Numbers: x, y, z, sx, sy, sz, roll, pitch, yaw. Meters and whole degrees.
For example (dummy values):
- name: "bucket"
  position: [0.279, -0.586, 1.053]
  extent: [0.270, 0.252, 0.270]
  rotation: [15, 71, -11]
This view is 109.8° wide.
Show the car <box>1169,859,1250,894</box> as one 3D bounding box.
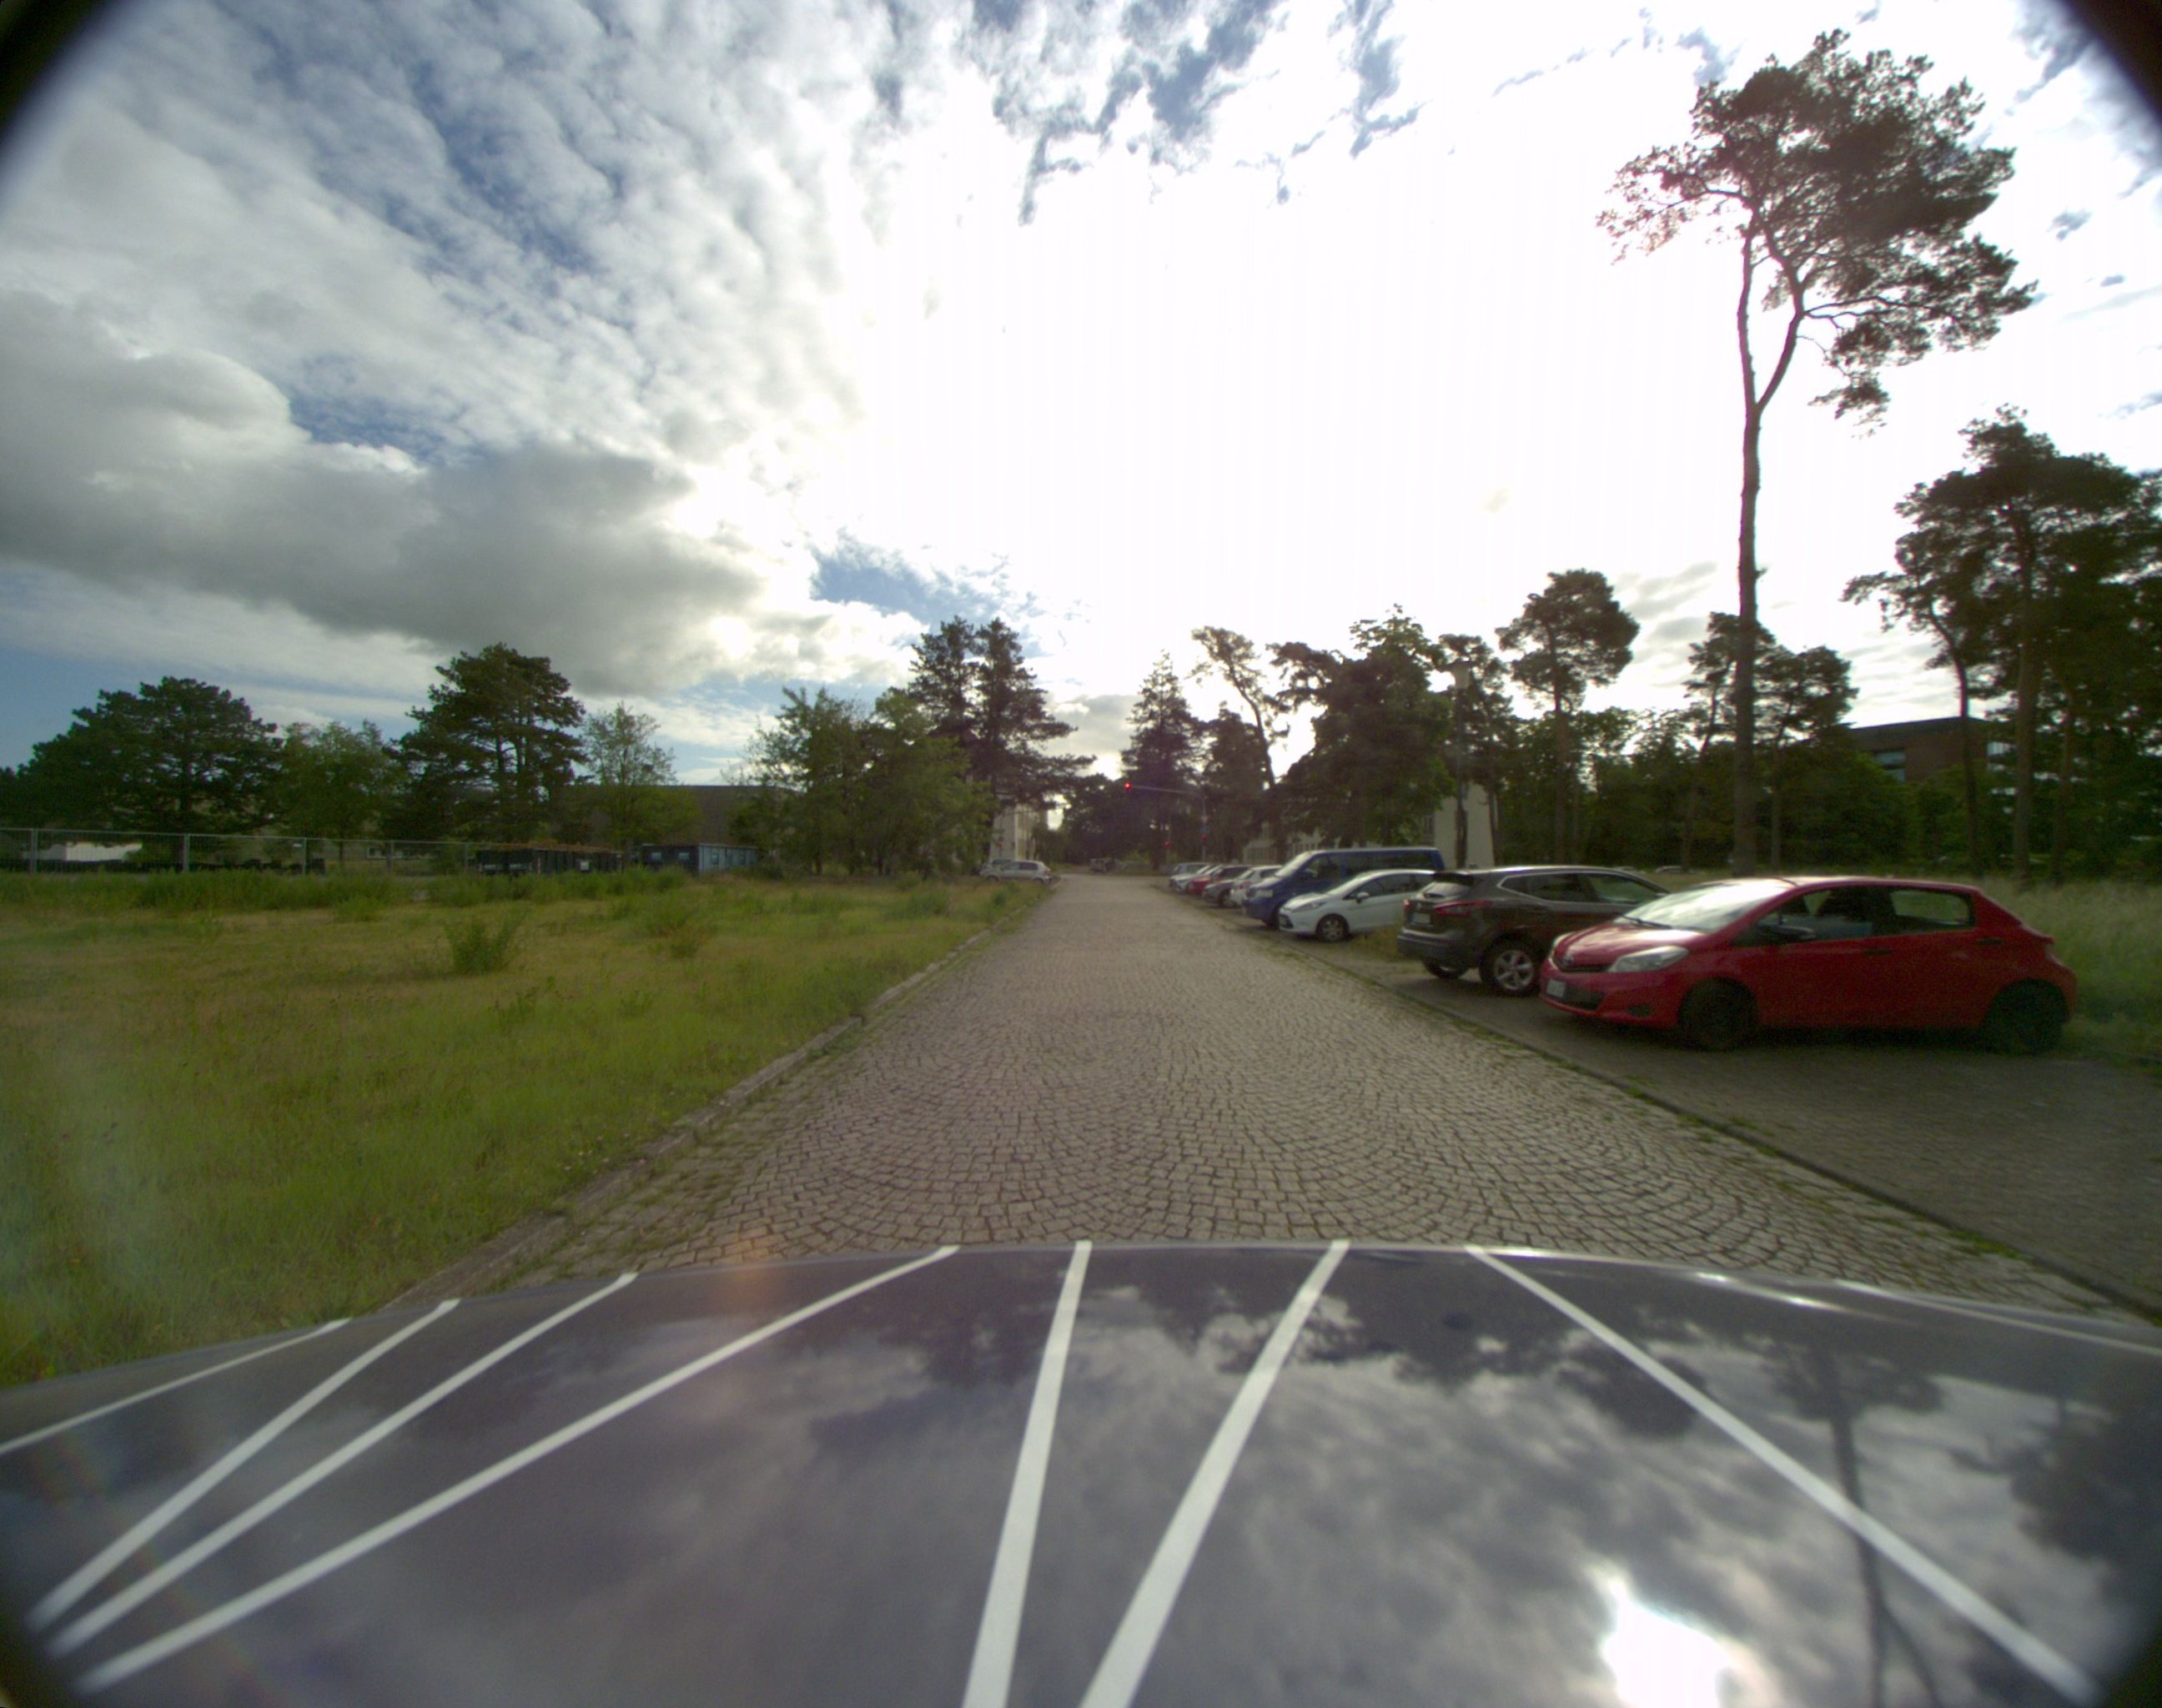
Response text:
- name: "car"
  position: [6.243, 1.085, 37.107]
  extent: [3.573, 1.479, 1.601]
  rotation: [-2, 1, -7]

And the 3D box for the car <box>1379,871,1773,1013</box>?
- name: "car"
  position: [6.174, 1.062, 9.813]
  extent: [3.916, 1.594, 1.821]
  rotation: [1, 0, -2]

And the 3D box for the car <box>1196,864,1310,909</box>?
- name: "car"
  position: [6.088, 1.119, 27.034]
  extent: [3.600, 1.412, 1.617]
  rotation: [-1, 1, -6]

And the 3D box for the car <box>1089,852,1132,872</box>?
- name: "car"
  position: [4.264, 1.104, 109.575]
  extent: [5.797, 2.548, 2.768]
  rotation: [-2, 1, -4]

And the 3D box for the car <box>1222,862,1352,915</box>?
- name: "car"
  position: [6.505, 1.063, 24.206]
  extent: [3.600, 1.446, 1.686]
  rotation: [-2, 1, -6]

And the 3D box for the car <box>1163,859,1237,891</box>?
- name: "car"
  position: [6.248, 1.093, 40.009]
  extent: [3.571, 1.450, 1.626]
  rotation: [-2, 1, -2]

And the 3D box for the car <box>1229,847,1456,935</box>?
- name: "car"
  position: [6.318, 0.847, 18.810]
  extent: [4.833, 1.855, 2.161]
  rotation: [-2, 1, -1]

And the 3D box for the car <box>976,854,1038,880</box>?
- name: "car"
  position: [-4.586, 0.802, 47.178]
  extent: [3.731, 1.429, 1.625]
  rotation: [-2, 1, -7]

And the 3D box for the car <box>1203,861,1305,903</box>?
- name: "car"
  position: [6.772, 1.075, 29.946]
  extent: [3.572, 1.426, 1.605]
  rotation: [-2, 1, -6]

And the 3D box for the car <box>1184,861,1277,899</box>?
- name: "car"
  position: [6.385, 1.087, 32.671]
  extent: [3.572, 1.408, 1.637]
  rotation: [-2, 1, -6]

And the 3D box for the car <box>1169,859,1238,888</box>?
- name: "car"
  position: [6.836, 1.070, 42.543]
  extent: [3.455, 1.424, 1.627]
  rotation: [-2, 1, -9]

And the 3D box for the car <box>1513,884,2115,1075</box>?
- name: "car"
  position: [6.503, 1.063, 7.102]
  extent: [3.950, 1.511, 1.707]
  rotation: [0, -1, 1]

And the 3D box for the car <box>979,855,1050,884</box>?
- name: "car"
  position: [-3.610, 0.836, 41.725]
  extent: [3.730, 1.429, 1.626]
  rotation: [-1, 1, -3]

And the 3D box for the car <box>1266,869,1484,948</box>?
- name: "car"
  position: [6.138, 1.110, 16.154]
  extent: [3.930, 1.385, 1.742]
  rotation: [-2, 1, -1]

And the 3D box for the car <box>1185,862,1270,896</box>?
- name: "car"
  position: [6.726, 1.144, 35.123]
  extent: [3.649, 1.340, 1.621]
  rotation: [-2, 1, 5]
